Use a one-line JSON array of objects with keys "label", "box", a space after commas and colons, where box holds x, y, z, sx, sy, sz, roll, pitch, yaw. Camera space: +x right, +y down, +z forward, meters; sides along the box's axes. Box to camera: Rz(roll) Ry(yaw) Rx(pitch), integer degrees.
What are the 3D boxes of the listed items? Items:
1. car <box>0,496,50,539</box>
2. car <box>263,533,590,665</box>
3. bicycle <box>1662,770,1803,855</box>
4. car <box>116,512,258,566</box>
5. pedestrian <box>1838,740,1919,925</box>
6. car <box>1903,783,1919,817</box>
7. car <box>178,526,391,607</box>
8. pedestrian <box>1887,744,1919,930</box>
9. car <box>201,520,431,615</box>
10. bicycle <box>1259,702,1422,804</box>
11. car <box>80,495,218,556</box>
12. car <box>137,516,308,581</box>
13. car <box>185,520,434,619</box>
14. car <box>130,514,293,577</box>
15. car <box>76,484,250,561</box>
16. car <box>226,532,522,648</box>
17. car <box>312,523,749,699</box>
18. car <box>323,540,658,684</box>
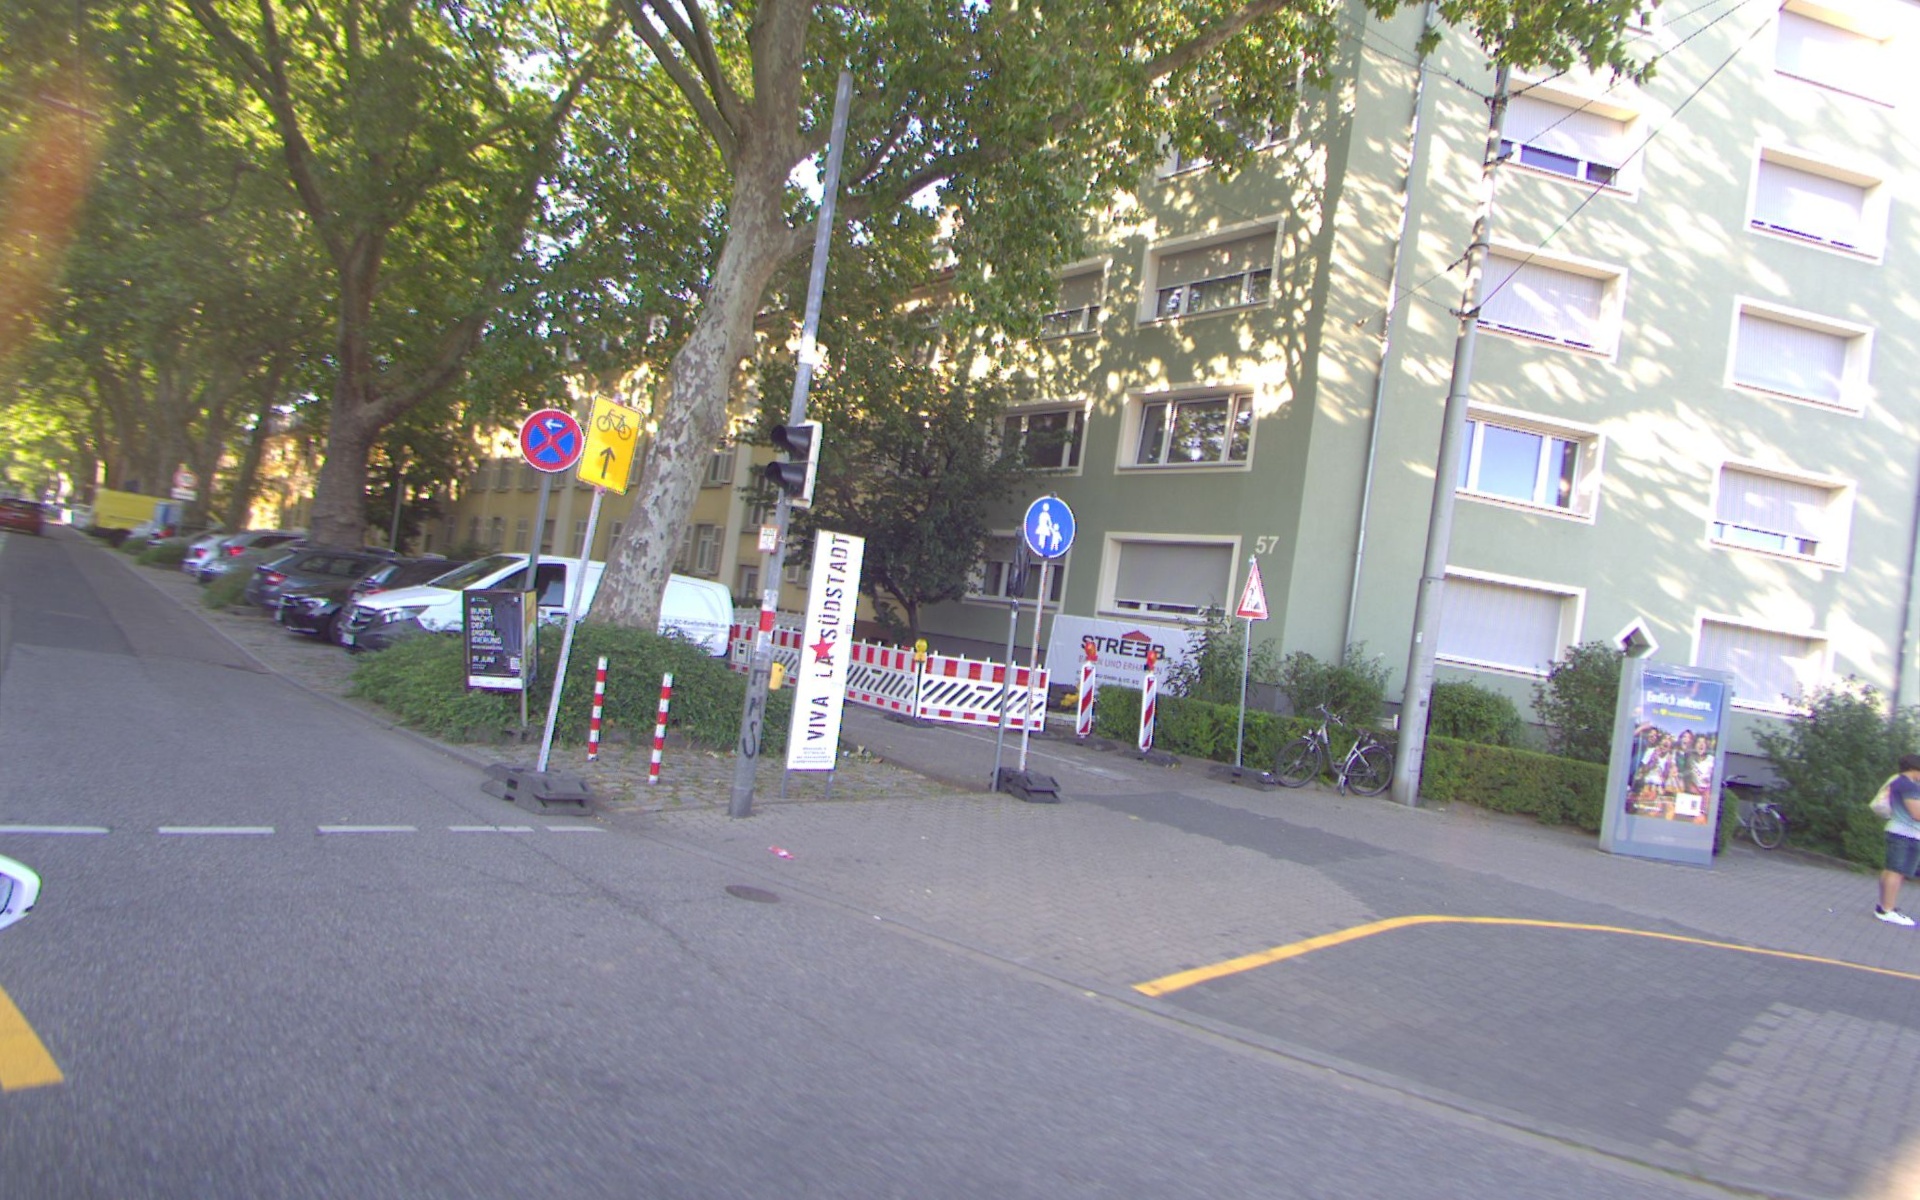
[{"label": "car", "box": [-41.159, -3.613, 43.990, 1.888, 1.582, 4.341, 8, -2, -43]}, {"label": "car", "box": [-9.334, 0.041, 17.880, 4.700, 1.620, 1.896, 10, -2, -43]}, {"label": "bicycle", "box": [13.065, 3.569, 17.086, 0.636, 1.014, 1.845, 8, -2, -11]}, {"label": "car", "box": [-34.336, -2.697, 44.770, 1.895, 1.551, 4.704, 7, -3, 45]}, {"label": "pedestrian", "box": [9.885, 2.421, 10.441, 0.780, 1.770, 0.694, 7, -1, 14]}, {"label": "car", "box": [47.545, 9.885, 48.537, 1.794, 1.543, 4.288, 7, -3, 29]}, {"label": "car", "box": [-19.197, -0.918, 28.728, 4.702, 1.551, 1.896, 10, -2, -44]}, {"label": "pedestrian", "box": [9.765, 2.361, 9.721, 0.780, 1.770, 0.694, 8, -1, 7]}, {"label": "car", "box": [-16.869, -0.809, 26.523, 4.702, 1.742, 1.896, 10, -2, -44]}, {"label": "bicycle", "box": [5.135, 2.062, 13.637, 1.898, 1.069, 0.521, 8, -1, 0]}, {"label": "car", "box": [-42.847, -3.909, 53.248, 5.429, 2.216, 2.036, 10, -2, -43]}, {"label": "car", "box": [-26.979, -1.866, 36.911, 1.895, 1.551, 4.705, 7, -3, 44]}, {"label": "car", "box": [-15.642, -0.704, 24.363, 4.700, 1.620, 1.896, 10, -2, -43]}, {"label": "car", "box": [-28.784, -2.068, 38.809, 1.894, 1.551, 4.706, 7, -3, 44]}, {"label": "car", "box": [-36.454, -3.478, 46.164, 5.931, 2.393, 2.036, 10, -2, -43]}, {"label": "car", "box": [-11.333, -0.137, 19.706, 1.895, 1.523, 4.579, 7, -3, 44]}, {"label": "car", "box": [-5.790, 0.258, 14.152, 5.207, 1.847, 1.907, 8, -2, -44]}, {"label": "car", "box": [-7.445, 0.250, 16.216, 4.396, 1.620, 1.919, 10, -3, -43]}]
